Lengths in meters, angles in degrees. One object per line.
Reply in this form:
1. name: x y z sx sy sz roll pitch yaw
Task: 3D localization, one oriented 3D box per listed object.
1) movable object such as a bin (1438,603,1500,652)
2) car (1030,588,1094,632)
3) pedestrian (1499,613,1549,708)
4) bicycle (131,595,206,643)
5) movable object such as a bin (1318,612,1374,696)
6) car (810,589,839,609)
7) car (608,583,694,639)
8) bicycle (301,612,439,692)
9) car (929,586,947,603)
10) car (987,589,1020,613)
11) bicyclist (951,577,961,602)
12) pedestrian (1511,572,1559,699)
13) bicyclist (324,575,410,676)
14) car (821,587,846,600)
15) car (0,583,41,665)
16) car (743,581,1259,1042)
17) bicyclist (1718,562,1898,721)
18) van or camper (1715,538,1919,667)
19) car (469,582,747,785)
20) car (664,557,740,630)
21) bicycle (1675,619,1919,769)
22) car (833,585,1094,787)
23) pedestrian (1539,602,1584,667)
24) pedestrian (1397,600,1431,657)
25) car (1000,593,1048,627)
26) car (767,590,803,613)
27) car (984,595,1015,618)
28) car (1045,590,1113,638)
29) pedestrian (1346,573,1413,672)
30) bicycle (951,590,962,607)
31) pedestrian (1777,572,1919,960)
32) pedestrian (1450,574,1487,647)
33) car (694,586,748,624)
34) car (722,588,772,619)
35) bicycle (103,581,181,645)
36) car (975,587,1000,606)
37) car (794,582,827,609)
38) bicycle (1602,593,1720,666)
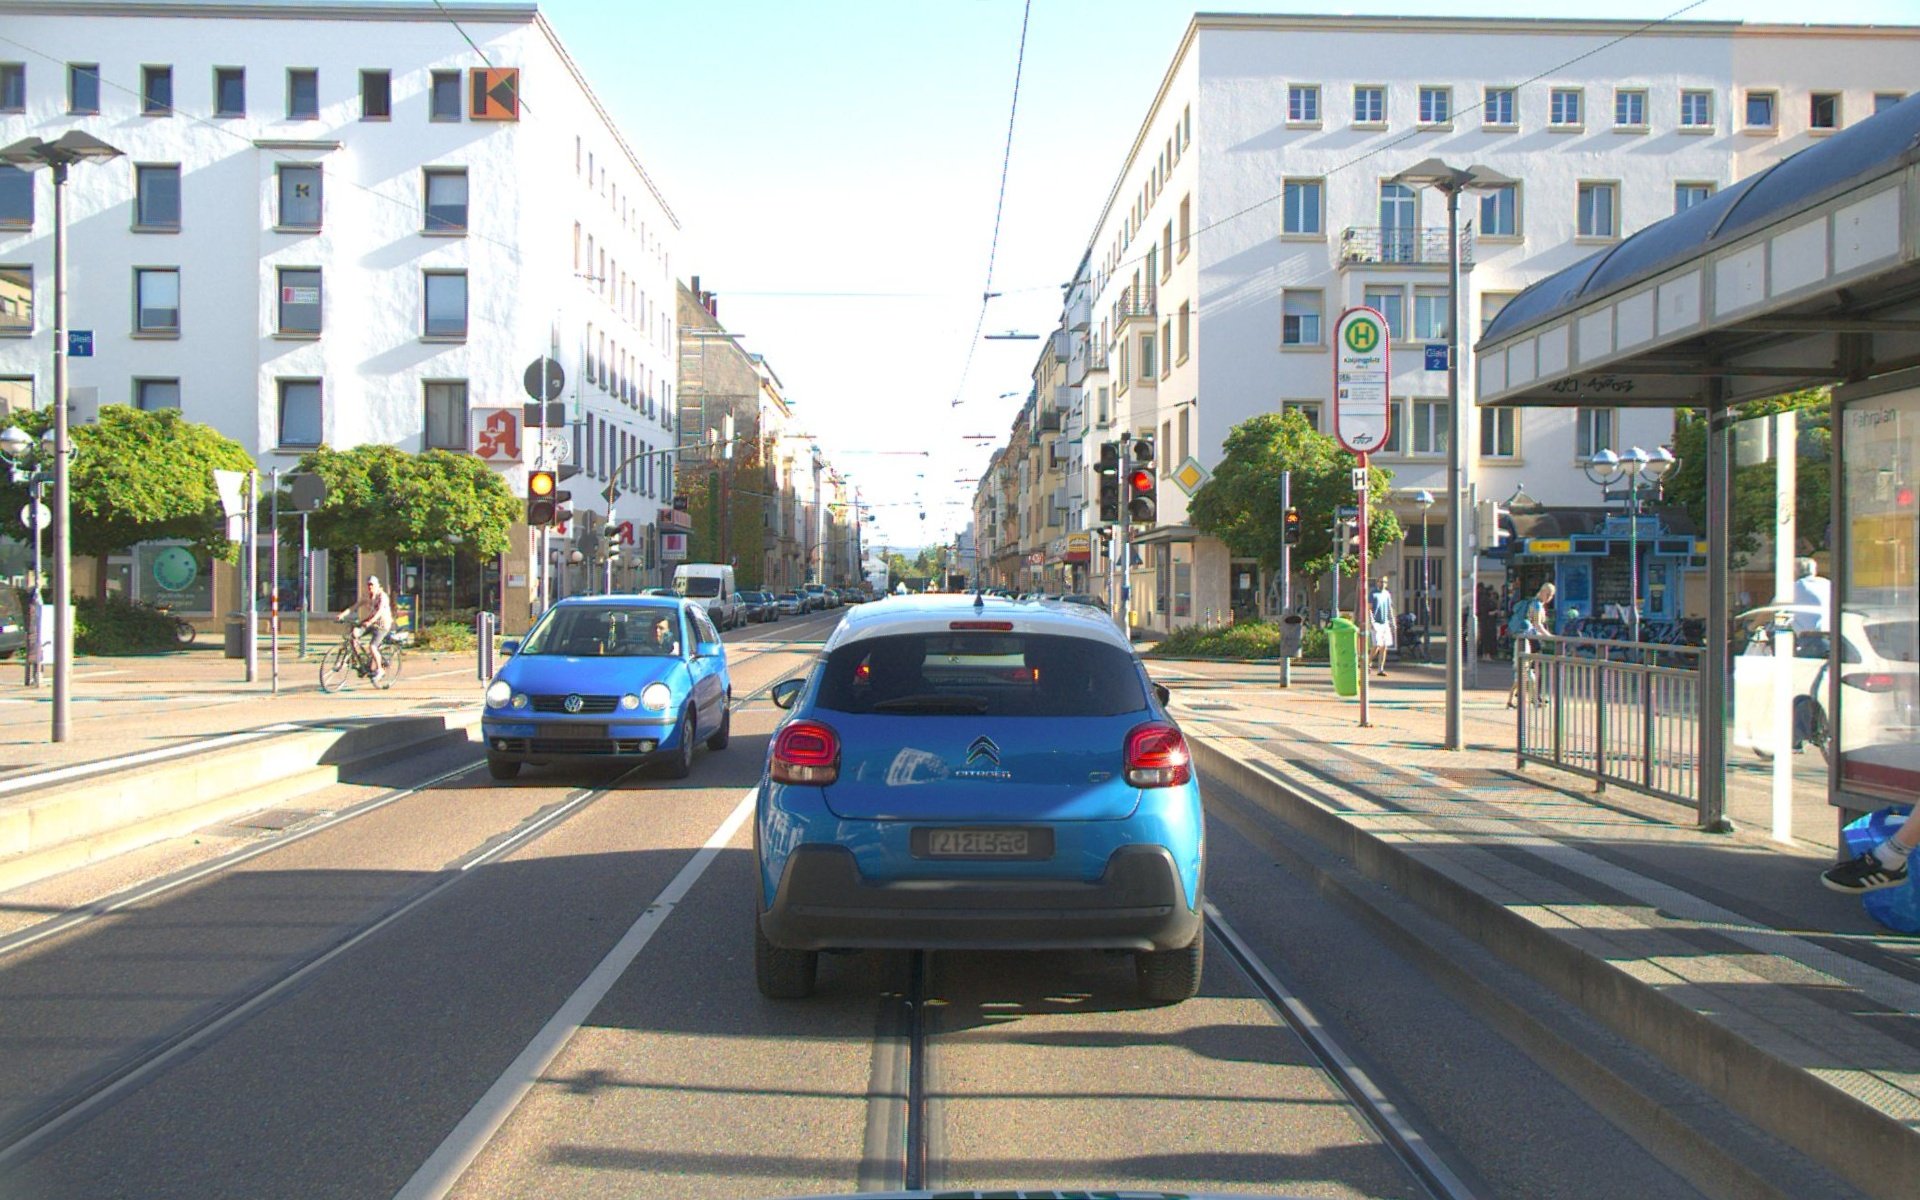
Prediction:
1. movable object such as a bin: 12.558 0.668 40.830 1.174 1.173 1.217 0 0 0
2. car: 3.495 0.333 57.345 1.953 1.489 4.000 0 0 0
3. pedestrian: 7.563 0.797 22.182 0.546 1.247 0.527 1 -1 10
4. bicycle: -20.628 0.479 43.181 0.605 1.211 2.621 0 0 2
5. movable object such as a bin: 3.731 0.515 15.990 0.439 0.800 0.489 0 0 2
6. car: -11.185 -0.088 136.861 1.914 1.579 3.939 1 0 1
7. car: -9.791 0.352 52.662 1.953 1.596 4.401 3 0 -2
8. bicycle: -8.834 0.760 24.836 0.714 1.132 1.973 0 0 29
9. car: -2.394 -0.639 178.421 1.953 1.803 3.999 0 0 -1
10. car: 2.678 0.065 102.553 1.953 1.489 4.504 0 0 0
11. bicyclist: -0.304 -0.859 137.941 0.793 2.049 0.922 1 -1 -1
12. pedestrian: 8.190 0.496 23.581 0.546 1.775 0.527 1 -1 10
13. bicyclist: -8.872 0.376 24.761 0.812 1.481 0.876 1 -1 28
14. car: -11.604 -0.592 151.569 1.953 1.176 4.000 0 0 0
15. car: -22.391 0.505 35.834 3.906 1.736 1.825 0 0 -1
16. car: 0.108 0.697 7.423 1.693 1.508 3.826 1 0 -1
17. bicyclist: 7.003 0.329 13.700 0.933 1.247 0.932 2 0 -9
18. van or camper: 20.977 0.021 37.140 6.976 2.795 2.371 0 2 0
19. car: -2.915 0.620 14.504 1.633 1.513 3.999 1 0 -1
20. car: -9.731 -0.254 62.898 2.043 2.586 6.203 1 0 -2
21. bicycle: 6.970 0.734 13.791 0.705 1.080 2.319 2 0 -8
22. car: -0.012 0.638 14.855 1.944 1.490 4.814 1 0 -1
23. pedestrian: 13.697 0.782 37.665 0.715 1.434 0.755 0 3 -1
24. pedestrian: 10.886 0.674 39.642 0.725 1.339 0.628 0 0 22
25. car: 2.829 0.414 73.794 1.953 1.489 4.000 0 0 0
26. car: -10.922 0.085 103.497 1.953 1.348 3.921 1 0 -2
27. car: 2.597 0.412 109.943 1.953 1.489 4.000 0 0 0
28. car: 3.755 0.419 52.834 1.870 1.489 4.000 0 0 0
29. pedestrian: 8.232 0.442 32.508 0.961 1.910 1.128 1 -1 -3
30. bicycle: -0.314 -0.158 138.102 0.901 1.413 3.131 0 0 -1
31. pedestrian: 3.582 0.558 5.749 0.978 1.246 0.923 3 0 -1
32. pedestrian: 13.226 0.263 43.039 0.768 1.871 0.678 0 0 2
33. car: -10.040 0.204 69.645 1.850 1.522 3.560 1 0 -2
34. car: -10.087 0.171 78.490 1.953 1.422 4.155 1 0 -2
35. bicycle: -21.337 0.320 43.194 0.605 1.635 2.621 0 0 3
36. car: 2.233 -0.312 133.566 1.953 1.489 4.000 0 0 0
37. car: -11.473 -0.333 127.251 1.965 2.049 4.690 1 0 1
38. bicycle: 15.887 0.656 37.489 2.336 1.558 0.726 2 0 -2
